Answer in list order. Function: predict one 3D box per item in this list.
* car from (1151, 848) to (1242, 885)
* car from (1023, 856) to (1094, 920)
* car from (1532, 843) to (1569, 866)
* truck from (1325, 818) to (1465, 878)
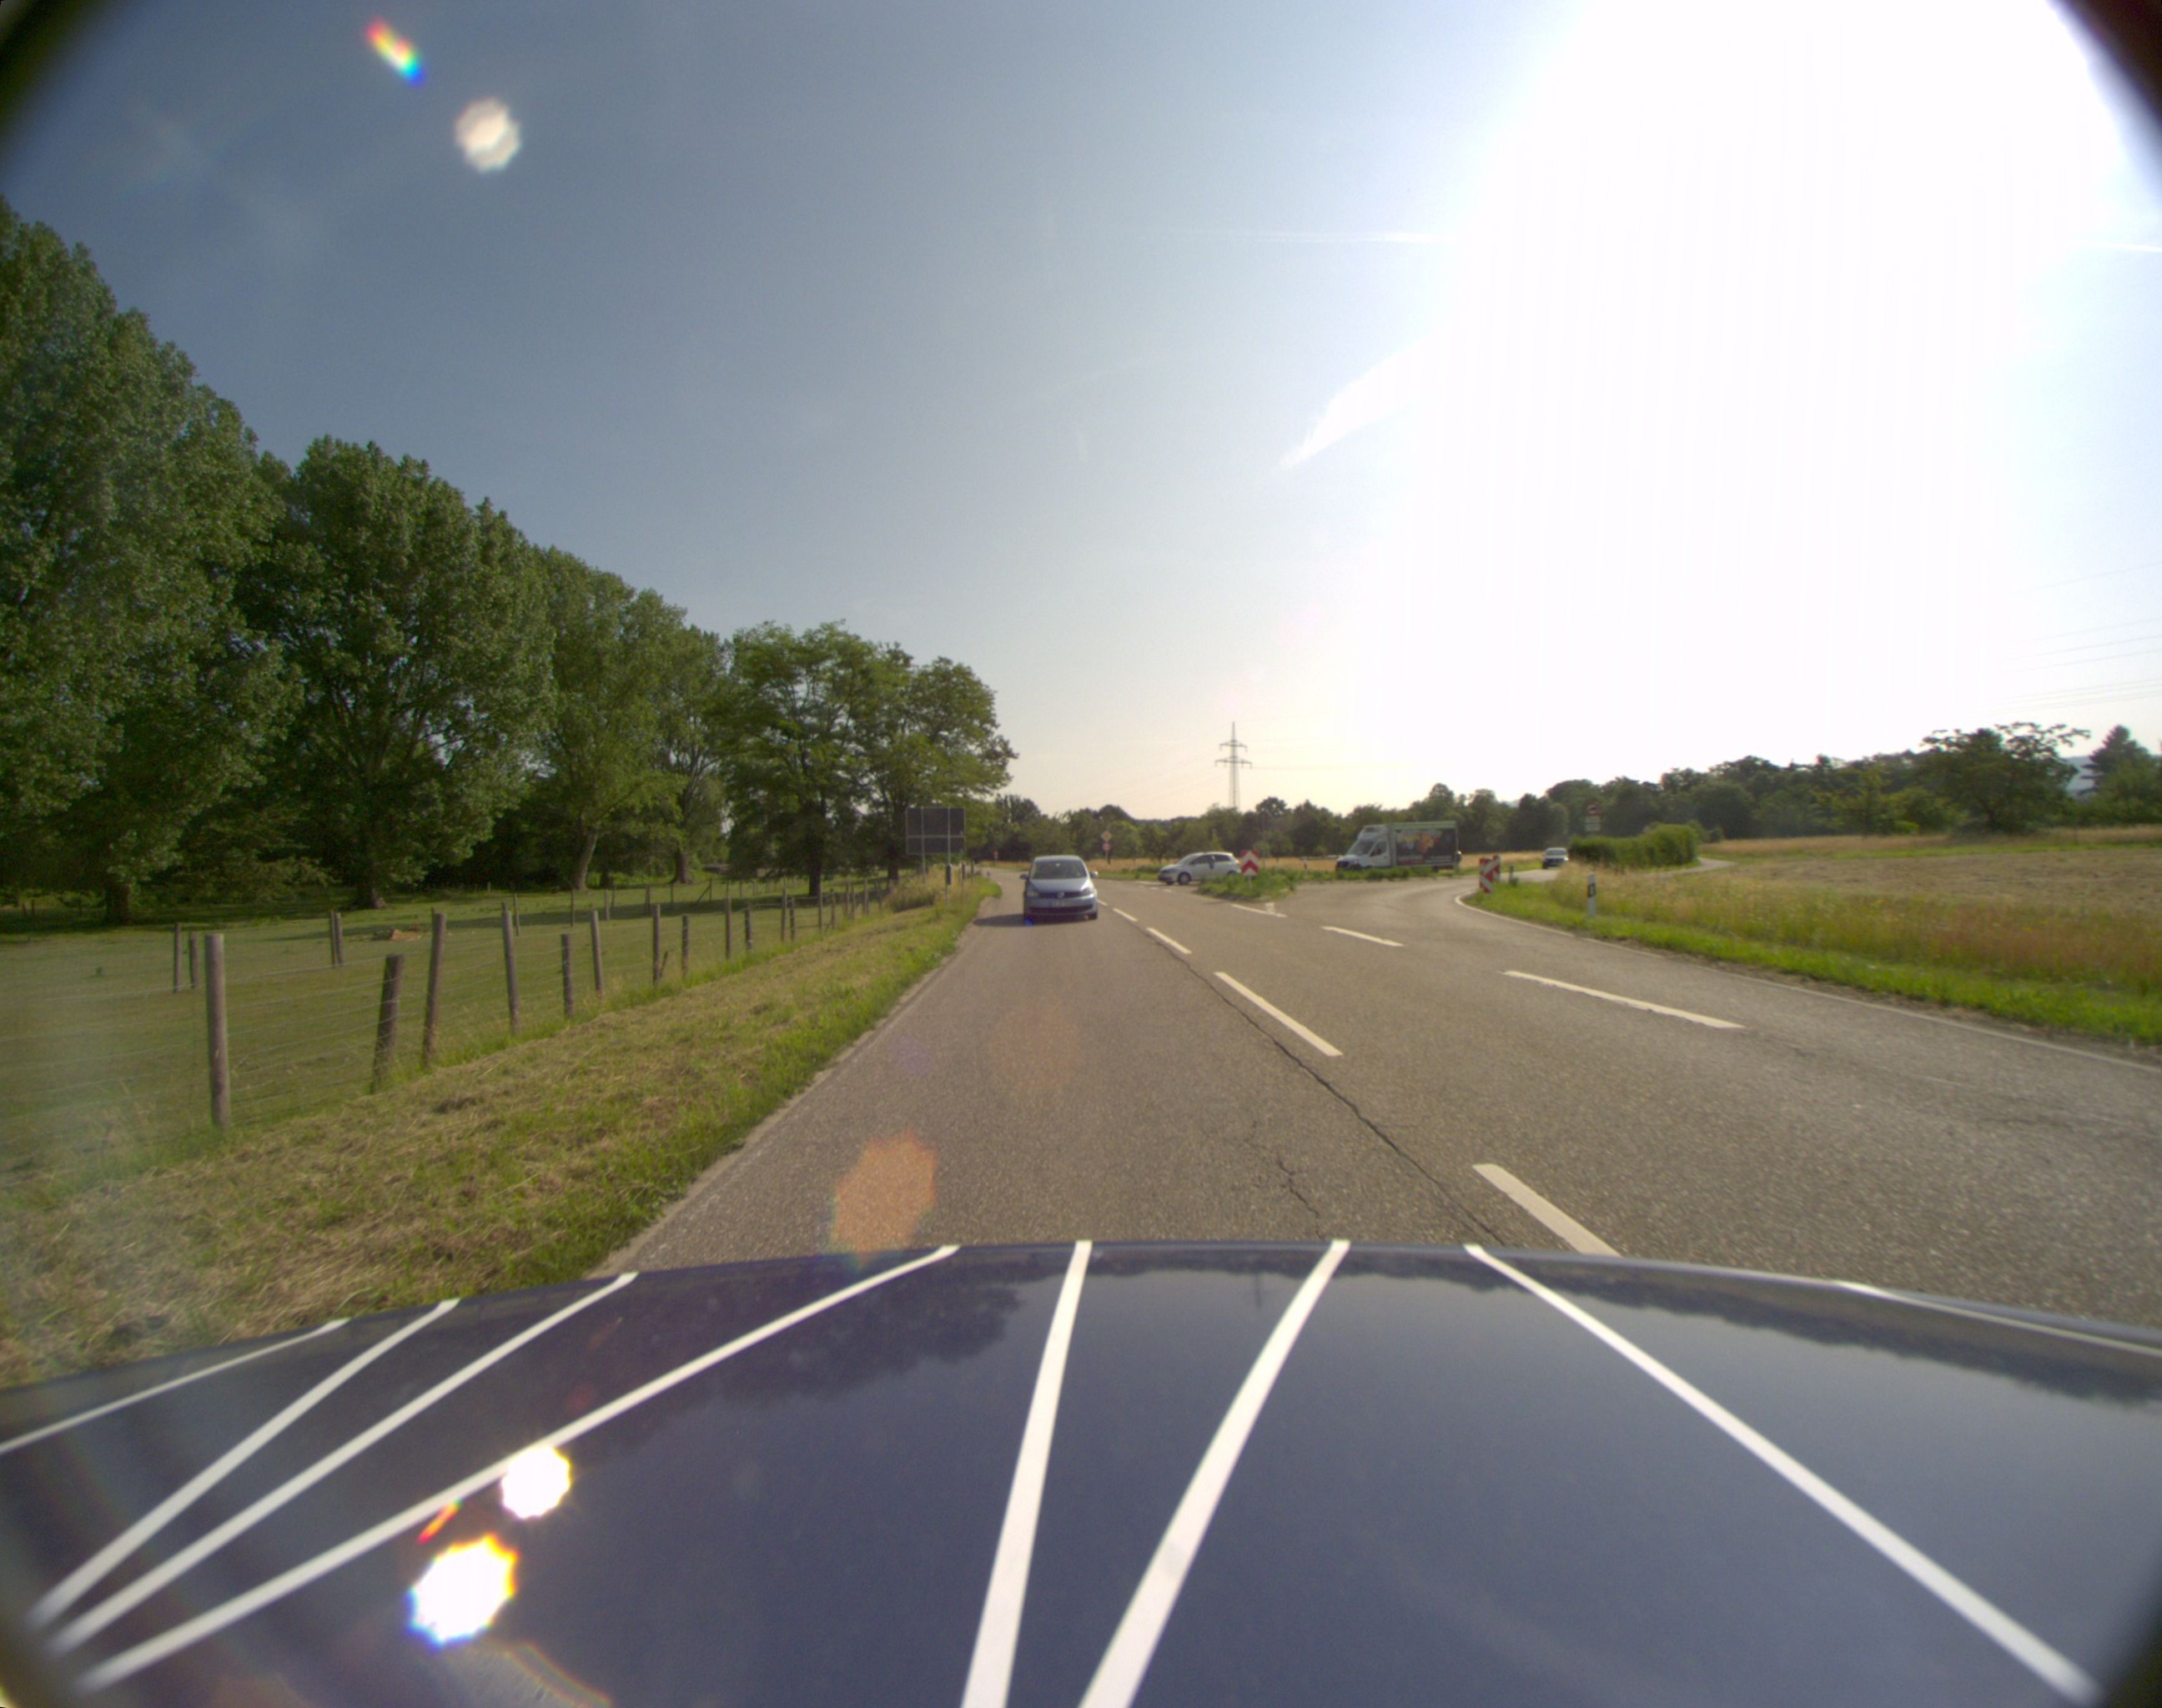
[{"bbox_3d":[5.720,0.603,37.767,3.911,1.570,1.997,-3,0,-17],"label":"car"},{"bbox_3d":[-0.593,0.842,20.749,1.718,1.495,4.093,-2,0,-1],"label":"car"},{"bbox_3d":[35.379,-0.009,57.205,1.813,1.543,4.008,-2,0,38],"label":"car"},{"bbox_3d":[17.452,-0.363,42.164,7.372,3.027,2.580,-2,0,-21],"label":"truck"}]
